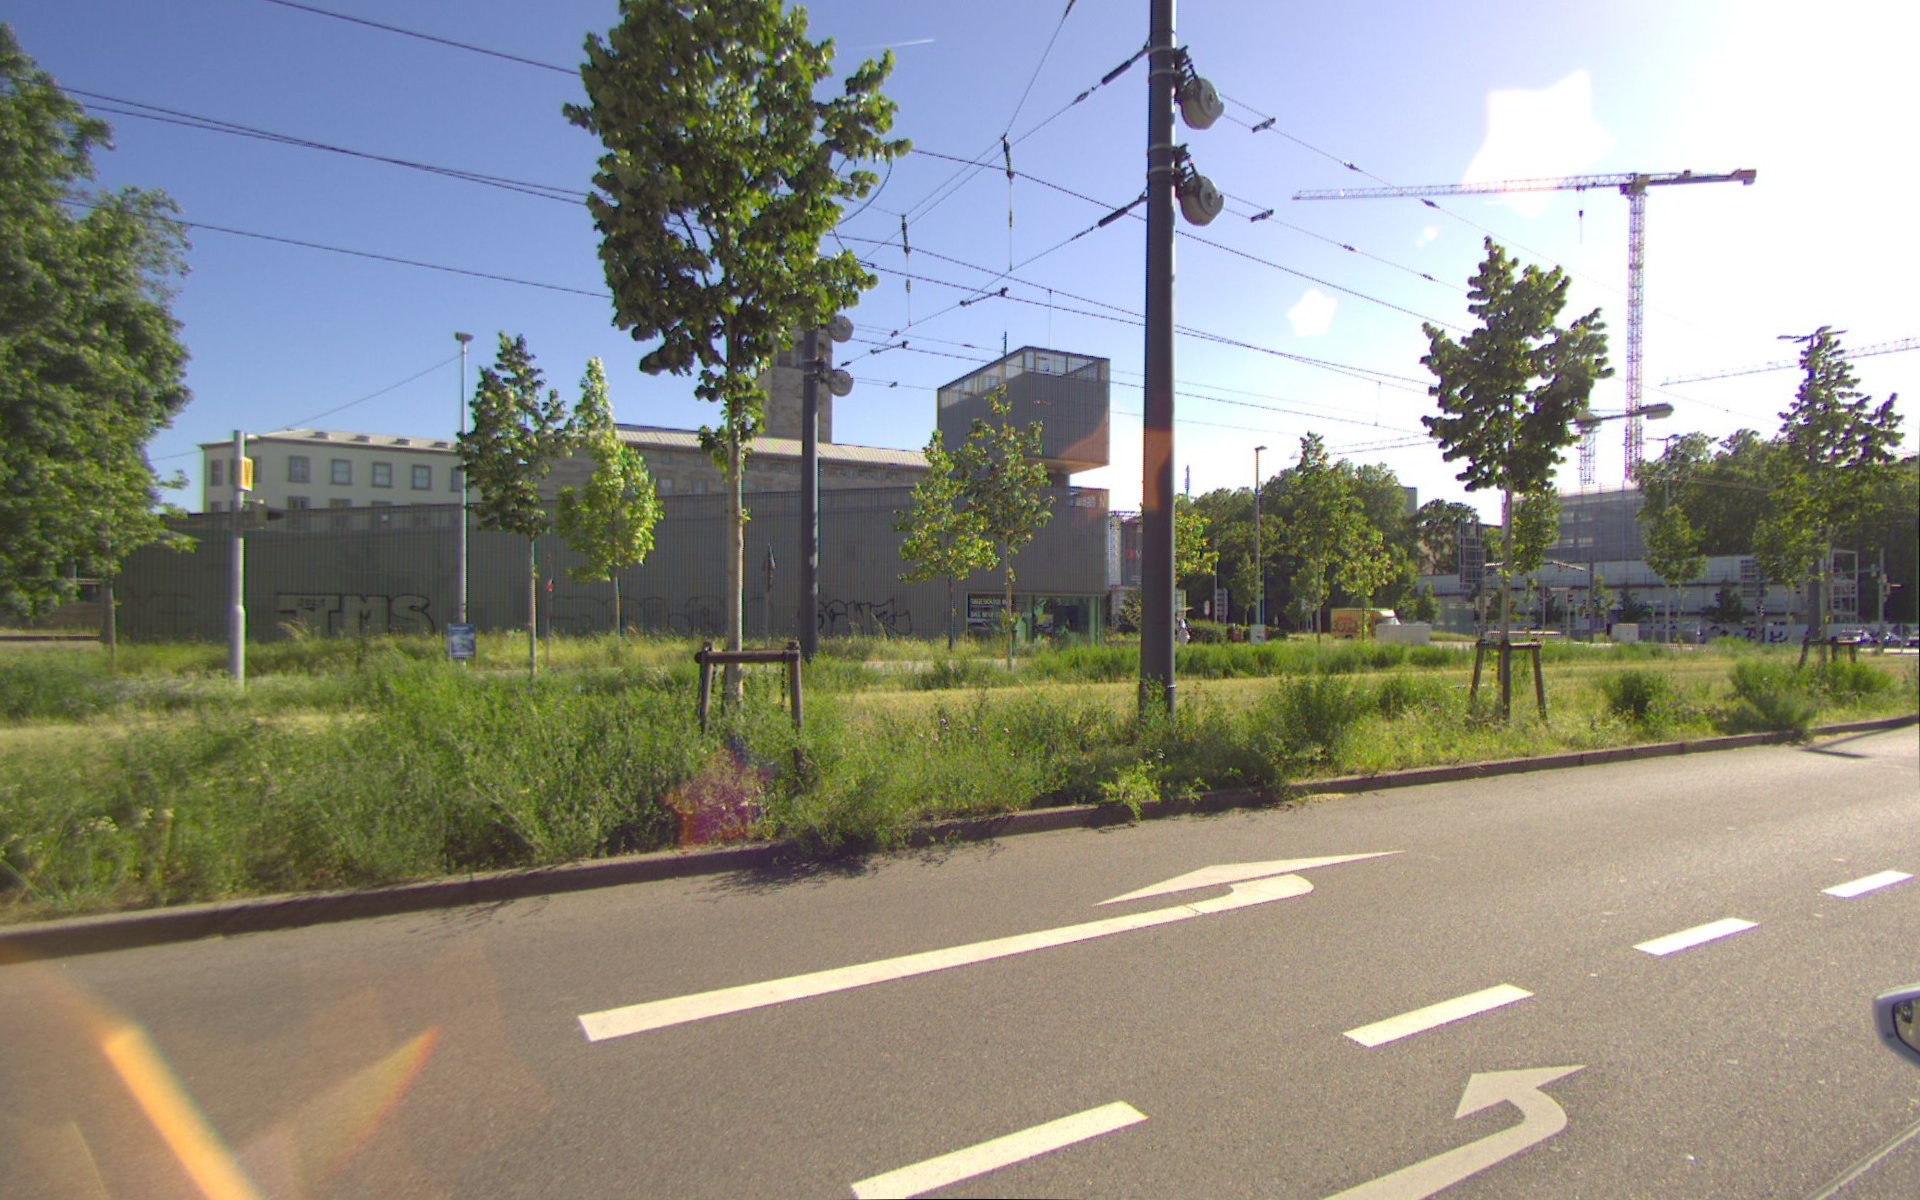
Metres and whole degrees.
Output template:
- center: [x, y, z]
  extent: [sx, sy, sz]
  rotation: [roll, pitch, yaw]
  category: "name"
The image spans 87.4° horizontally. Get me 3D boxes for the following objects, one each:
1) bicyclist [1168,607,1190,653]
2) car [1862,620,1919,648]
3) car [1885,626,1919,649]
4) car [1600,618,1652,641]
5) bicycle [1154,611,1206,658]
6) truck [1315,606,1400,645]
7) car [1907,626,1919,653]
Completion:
- center: [7.038, 0.957, 32.273]
  extent: [0.533, 1.474, 0.392]
  rotation: [1, 1, -31]
  category: "bicyclist"
- center: [44.057, 1.594, 47.361]
  extent: [3.183, 1.194, 1.369]
  rotation: [2, 1, -31]
  category: "car"
- center: [72.712, 2.851, 76.814]
  extent: [3.851, 1.634, 1.828]
  rotation: [2, 1, -31]
  category: "car"
- center: [51.137, 2.255, 77.081]
  extent: [3.953, 1.577, 1.702]
  rotation: [2, 1, -30]
  category: "car"
- center: [7.070, 1.094, 32.303]
  extent: [1.891, 1.475, 0.358]
  rotation: [0, 0, -30]
  category: "bicycle"
- center: [33.652, 2.124, 85.287]
  extent: [1.977, 3.002, 6.929]
  rotation: [2, 1, -30]
  category: "truck"
- center: [43.786, 1.802, 44.849]
  extent: [3.183, 1.194, 1.369]
  rotation: [2, 1, -31]
  category: "car"
